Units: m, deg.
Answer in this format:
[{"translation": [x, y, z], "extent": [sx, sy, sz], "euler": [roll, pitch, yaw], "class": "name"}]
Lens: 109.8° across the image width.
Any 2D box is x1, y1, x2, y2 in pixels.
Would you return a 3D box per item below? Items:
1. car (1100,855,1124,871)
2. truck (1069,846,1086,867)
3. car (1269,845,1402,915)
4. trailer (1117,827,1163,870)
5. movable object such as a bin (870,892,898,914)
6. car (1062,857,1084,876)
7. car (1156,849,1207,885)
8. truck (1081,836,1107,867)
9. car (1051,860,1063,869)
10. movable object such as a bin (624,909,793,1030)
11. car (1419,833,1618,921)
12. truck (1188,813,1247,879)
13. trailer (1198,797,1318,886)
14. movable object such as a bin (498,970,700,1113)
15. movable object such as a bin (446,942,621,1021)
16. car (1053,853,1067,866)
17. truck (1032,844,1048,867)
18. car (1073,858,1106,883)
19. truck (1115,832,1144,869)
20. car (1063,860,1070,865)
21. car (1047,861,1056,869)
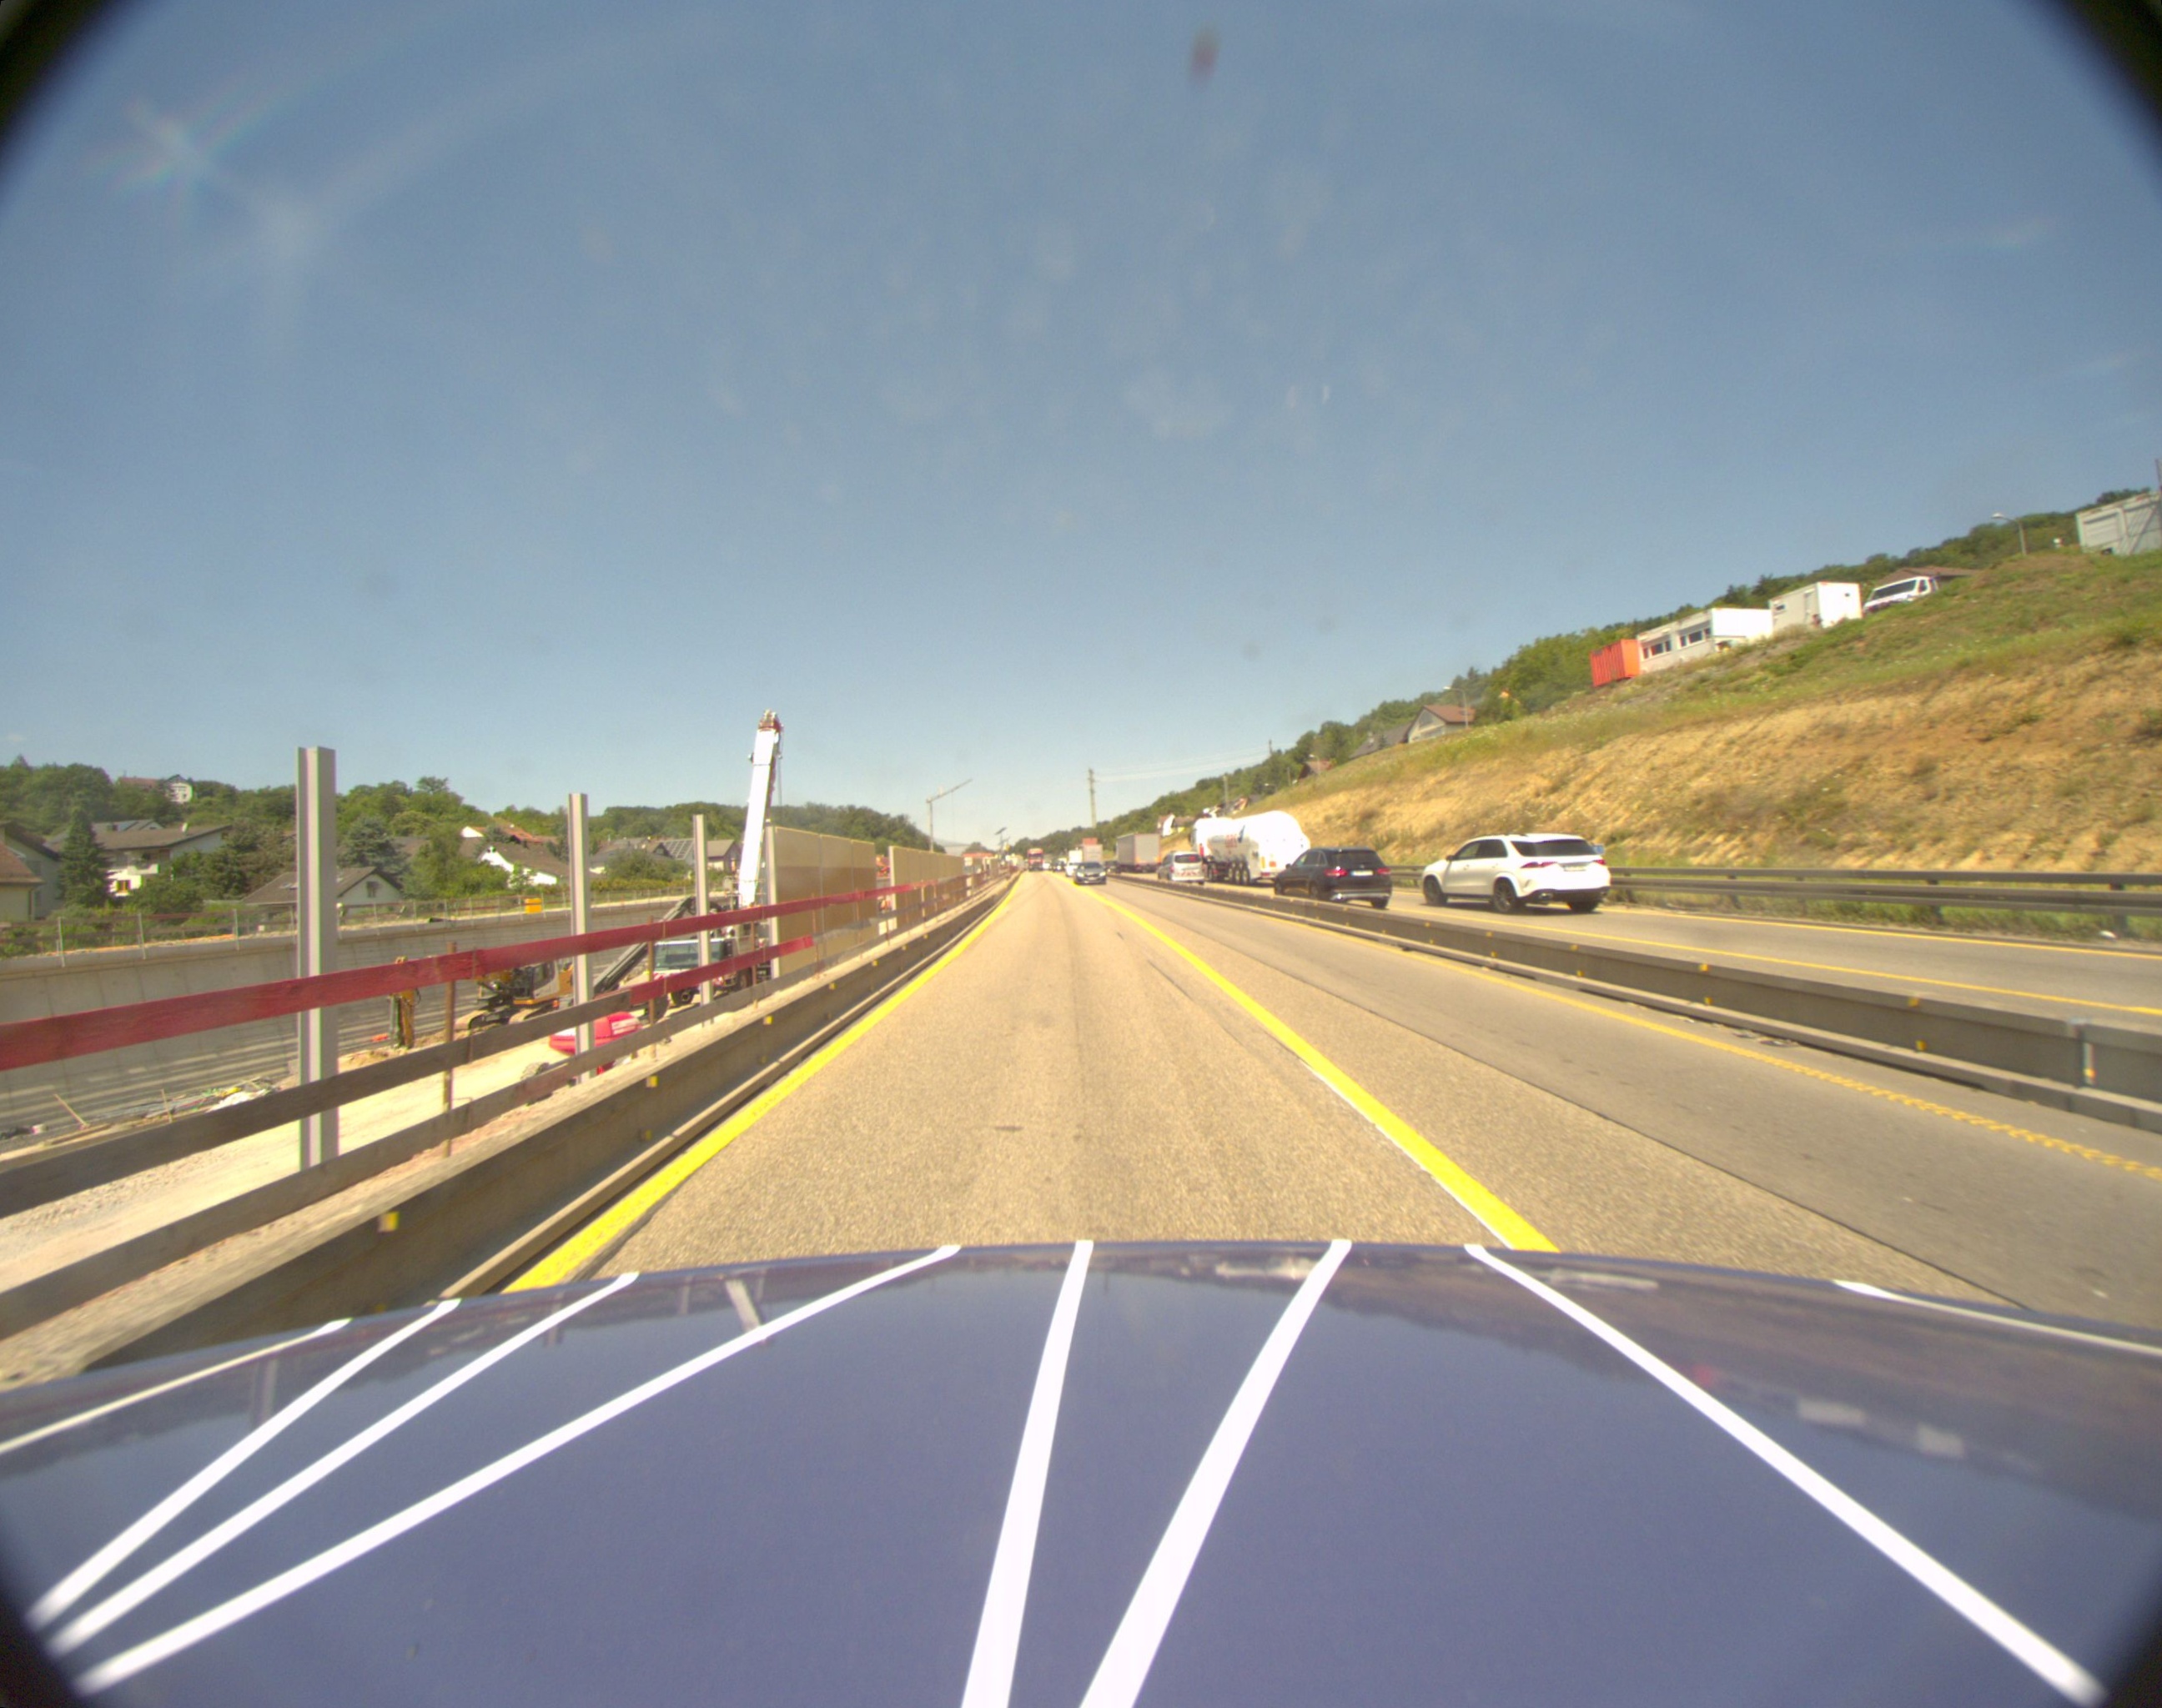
[{"translation": [3.071, 0.892, 75.532], "extent": [1.785, 1.449, 4.718], "euler": [-3, 0, -4], "class": "car"}, {"translation": [-0.718, 0.465, 133.313], "extent": [2.545, 3.354, 7.036], "euler": [-2, 0, -3], "class": "truck"}, {"translation": [6.731, 0.640, 20.725], "extent": [1.796, 1.602, 4.732], "euler": [-2, 0, -3], "class": "car"}, {"translation": [6.075, -0.476, 80.525], "extent": [2.706, 4.001, 13.698], "euler": [-2, 0, -4], "class": "trailer"}, {"translation": [-25.848, 6.374, 99.715], "extent": [2.616, 2.475, 4.453], "euler": [-4, 0, -4], "class": "movable object such as a bin"}, {"translation": [-0.742, 1.177, 70.107], "extent": [1.781, 1.682, 4.335], "euler": [-2, -1, -3], "class": "car"}, {"translation": [5.223, 0.664, 40.021], "extent": [1.885, 1.734, 4.481], "euler": [-1, 0, -3], "class": "car"}, {"translation": [1.645, -0.299, 96.609], "extent": [2.597, 3.736, 7.356], "euler": [-2, 0, -4], "class": "truck"}, {"translation": [-4.053, 1.770, 128.369], "extent": [1.781, 1.485, 4.335], "euler": [-2, -1, -3], "class": "car"}, {"translation": [-15.108, 4.487, 31.873], "extent": [2.974, 3.467, 9.148], "euler": [-4, 0, -5], "class": "movable object such as a bin"}, {"translation": [10.025, 0.489, 17.899], "extent": [1.796, 1.752, 4.536], "euler": [-2, 0, -4], "class": "car"}, {"translation": [8.259, -0.454, 46.326], "extent": [2.597, 3.779, 3.766], "euler": [-2, 0, -4], "class": "truck"}, {"translation": [8.706, -0.505, 39.331], "extent": [2.597, 3.779, 11.914], "euler": [-2, 0, -4], "class": "trailer"}, {"translation": [-12.339, 4.700, 19.961], "extent": [2.174, 2.417, 4.820], "euler": [-4, 0, -2], "class": "movable object such as a bin"}, {"translation": [-27.078, 6.214, 38.219], "extent": [3.172, 2.431, 7.892], "euler": [-4, 0, -3], "class": "movable object such as a bin"}, {"translation": [-2.907, 0.837, 106.742], "extent": [1.781, 1.727, 4.335], "euler": [-2, -1, -3], "class": "car"}, {"translation": [-7.394, 0.335, 136.639], "extent": [2.606, 3.703, 10.534], "euler": [-2, -1, -3], "class": "truck"}, {"translation": [0.491, 1.039, 47.835], "extent": [1.781, 1.447, 4.335], "euler": [-2, -1, -3], "class": "car"}, {"translation": [5.554, -0.408, 87.945], "extent": [2.706, 4.026, 3.953], "euler": [-2, 0, -4], "class": "truck"}, {"translation": [-4.270, 2.533, 221.223], "extent": [1.781, 1.486, 4.334], "euler": [-2, 0, -3], "class": "car"}, {"translation": [-6.108, 2.251, 155.794], "extent": [1.781, 1.486, 4.334], "euler": [-2, 0, -3], "class": "car"}]
